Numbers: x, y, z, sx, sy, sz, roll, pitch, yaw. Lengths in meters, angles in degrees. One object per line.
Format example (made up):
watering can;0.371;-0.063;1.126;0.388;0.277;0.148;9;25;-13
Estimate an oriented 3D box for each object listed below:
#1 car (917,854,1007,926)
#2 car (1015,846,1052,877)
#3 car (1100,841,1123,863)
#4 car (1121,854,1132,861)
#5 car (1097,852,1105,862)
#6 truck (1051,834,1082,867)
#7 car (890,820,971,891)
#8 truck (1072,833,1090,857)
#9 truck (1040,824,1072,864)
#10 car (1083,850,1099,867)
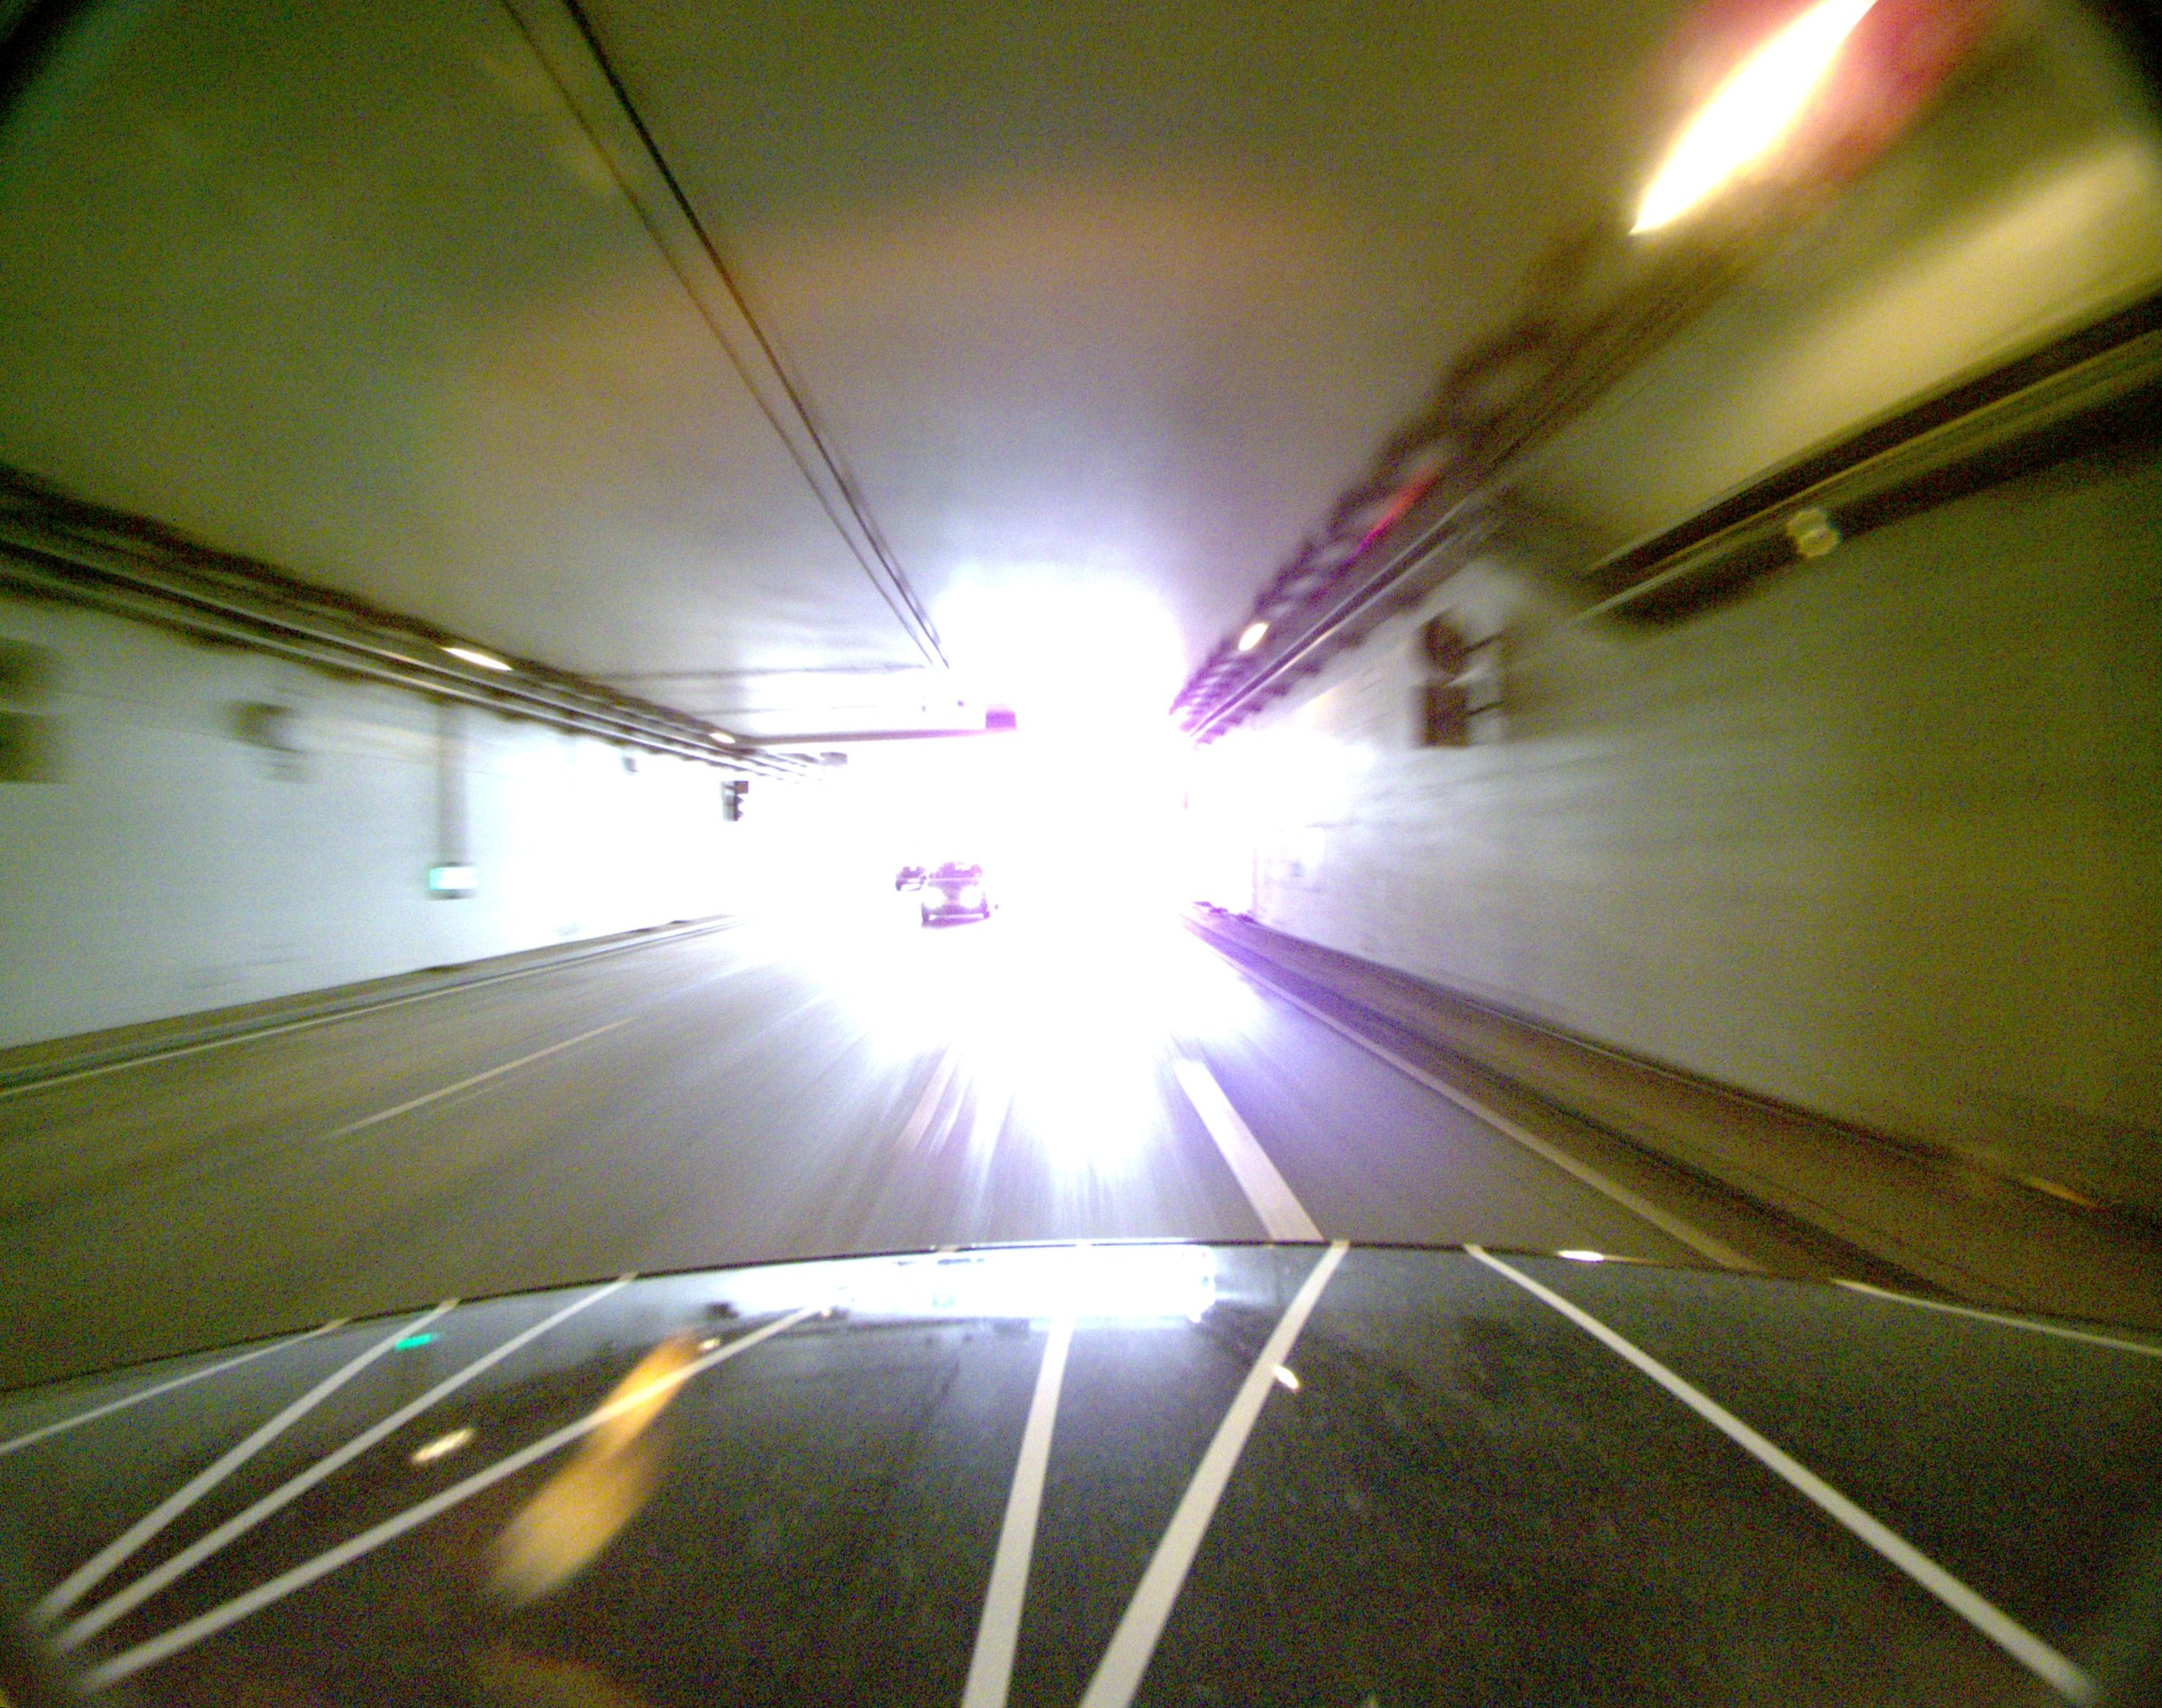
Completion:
car;-2.930;0.826;19.413;1.639;1.552;3.715;-2;1;0
car;-2.545;0.386;41.291;1.764;1.552;3.817;-2;1;-1
car;2.829;-0.245;71.724;1.935;1.918;4.195;-2;2;0
car;9.725;0.757;161.958;1.950;1.524;4.000;-1;-1;-1
car;3.996;0.528;152.086;1.639;1.789;3.715;-2;2;0
truck;-1.177;-0.363;64.496;2.073;2.525;6.023;-2;2;3
car;-6.611;0.031;34.257;2.106;2.831;6.860;-1;1;1
truck;0.043;-1.435;116.621;2.494;3.369;6.374;-2;2;0
truck;-2.839;-1.274;89.823;2.886;4.447;10.452;-2;2;2
car;1.012;0.485;81.452;1.639;1.661;3.715;-2;2;0
